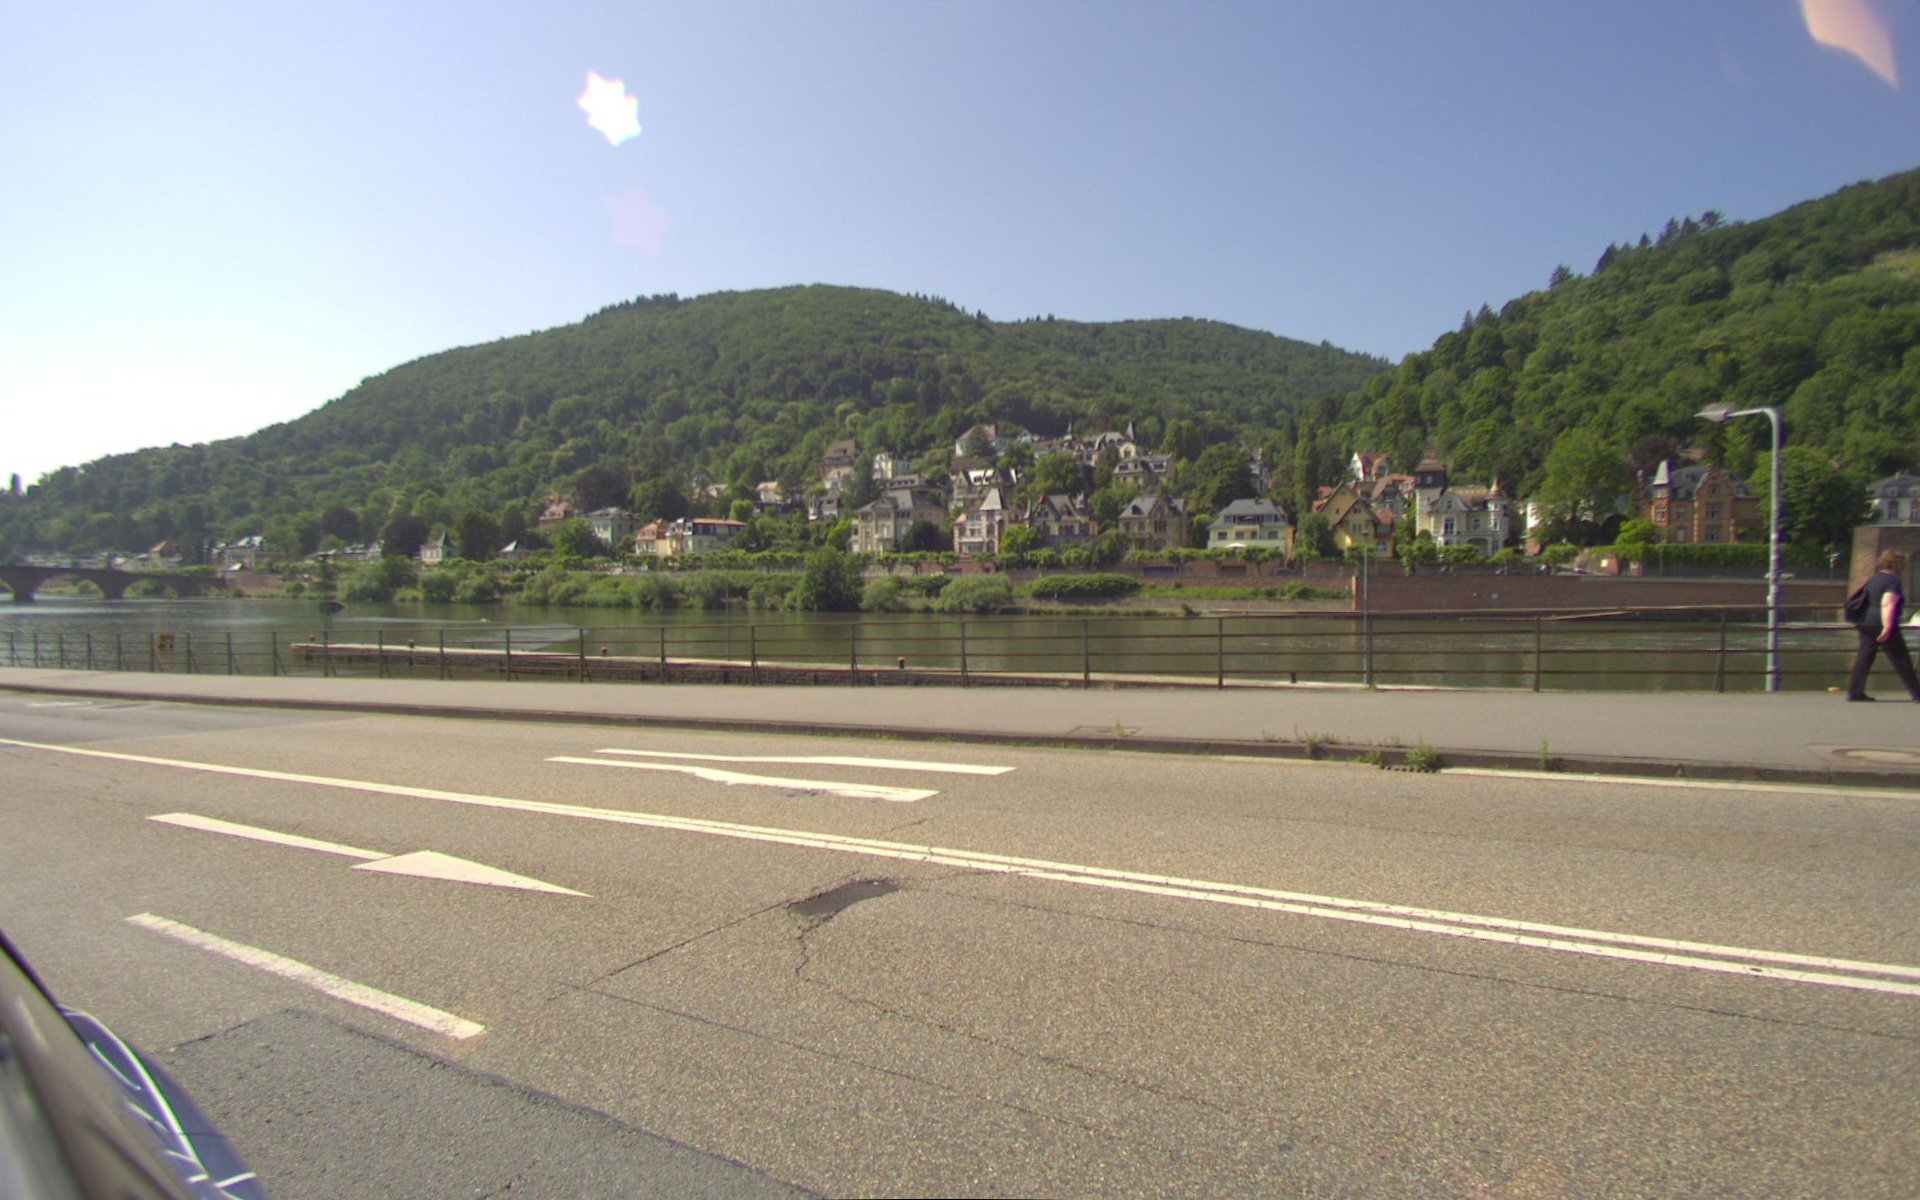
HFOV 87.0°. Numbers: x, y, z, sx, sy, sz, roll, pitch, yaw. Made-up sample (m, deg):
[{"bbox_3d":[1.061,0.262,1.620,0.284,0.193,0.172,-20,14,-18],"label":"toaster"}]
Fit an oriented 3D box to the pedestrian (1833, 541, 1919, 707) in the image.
[{"bbox_3d":[9.999,0.249,10.844,0.768,1.722,0.680,-1,0,23],"label":"pedestrian"}]
